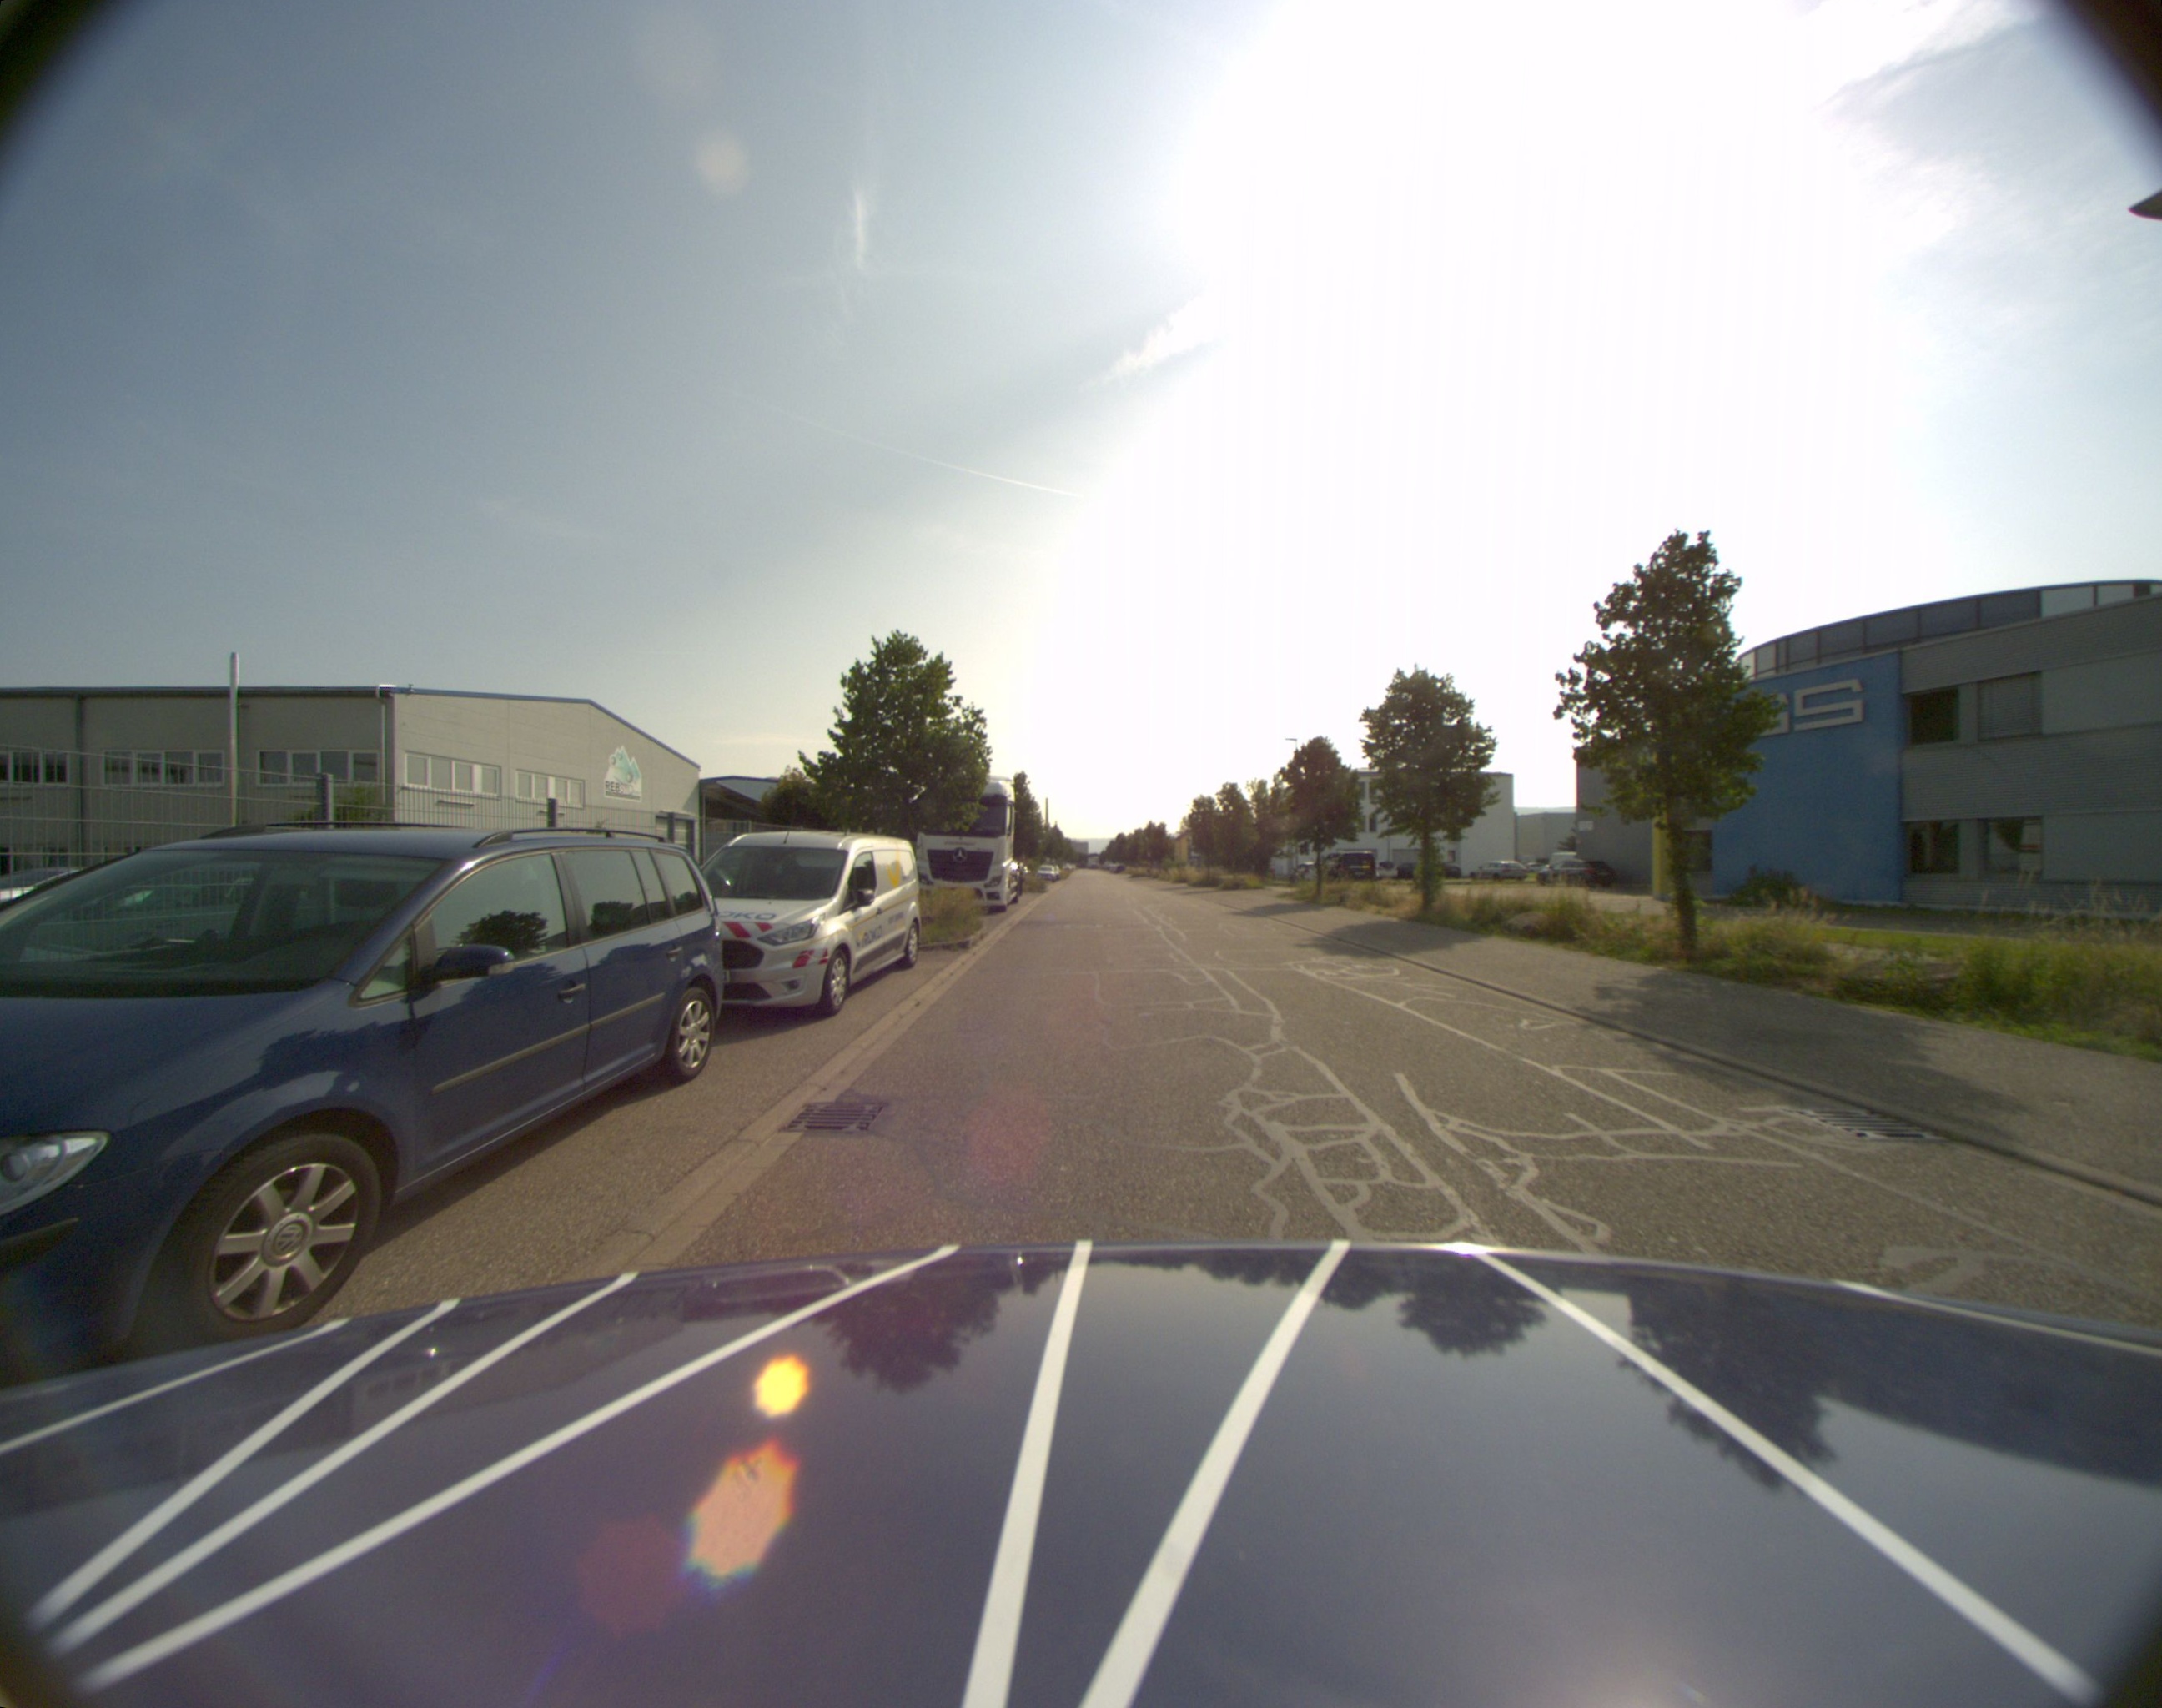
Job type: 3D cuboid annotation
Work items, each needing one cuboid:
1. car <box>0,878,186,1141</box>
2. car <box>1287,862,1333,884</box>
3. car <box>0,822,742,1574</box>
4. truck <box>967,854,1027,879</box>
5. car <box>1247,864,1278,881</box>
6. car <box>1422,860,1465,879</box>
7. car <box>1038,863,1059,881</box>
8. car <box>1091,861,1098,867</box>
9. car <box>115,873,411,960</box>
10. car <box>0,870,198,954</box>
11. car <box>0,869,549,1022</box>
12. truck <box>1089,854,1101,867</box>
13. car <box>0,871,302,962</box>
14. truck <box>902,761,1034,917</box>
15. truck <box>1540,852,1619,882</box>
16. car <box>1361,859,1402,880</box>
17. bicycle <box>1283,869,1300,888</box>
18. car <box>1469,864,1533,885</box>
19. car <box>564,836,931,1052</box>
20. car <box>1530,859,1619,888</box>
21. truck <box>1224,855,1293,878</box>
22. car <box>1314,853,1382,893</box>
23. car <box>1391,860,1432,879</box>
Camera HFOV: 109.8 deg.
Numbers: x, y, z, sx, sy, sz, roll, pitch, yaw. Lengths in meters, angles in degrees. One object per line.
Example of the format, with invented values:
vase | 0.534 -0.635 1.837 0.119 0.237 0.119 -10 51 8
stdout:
car | -8.271 0.903 4.191 4.236 1.486 1.899 0 -1 -3
car | 15.402 1.262 51.267 1.790 1.441 3.918 0 -1 -2
car | -3.405 0.782 3.465 1.830 1.710 4.248 -1 0 -1
truck | -8.833 1.270 79.559 6.194 2.515 2.280 0 0 33
car | 15.111 1.517 63.509 1.759 1.401 3.919 0 -1 1
car | 29.863 1.252 62.735 1.759 1.459 3.919 0 -1 1
car | -2.856 1.589 67.078 1.668 1.495 3.541 2 -1 0
car | 3.324 2.529 191.839 1.668 1.495 3.540 -1 1 0
car | -17.256 1.225 16.438 1.895 1.547 4.369 -1 -1 -5
car | -23.130 1.223 16.984 1.895 1.681 4.369 -1 -1 -5
car | -8.277 0.866 8.014 3.998 1.363 1.790 0 0 -4
truck | 4.447 2.137 243.189 3.413 4.017 10.395 -2 -1 0
car | -20.174 1.232 16.651 1.895 1.681 4.369 -1 -1 -5
truck | -3.258 -0.329 24.735 2.753 3.991 9.686 2 -1 0
truck | 34.035 0.869 52.058 1.999 1.892 4.952 0 -1 -2
car | 24.923 1.270 63.150 1.910 1.609 3.919 0 -1 1
bicycle | 11.497 1.320 41.469 0.541 0.973 1.871 -1 0 4
car | 28.282 1.355 51.309 1.737 1.364 4.382 0 -1 -3
car | -3.226 0.738 8.601 1.998 1.779 4.600 -1 0 1
car | 26.596 1.023 41.143 1.719 1.452 4.782 -1 -1 0
truck | 24.061 1.684 103.259 8.836 2.816 2.515 2 0 0
car | 14.236 0.990 40.796 1.886 2.001 4.992 0 -1 0
car | 27.427 1.260 63.097 1.759 1.459 3.919 0 -1 1
